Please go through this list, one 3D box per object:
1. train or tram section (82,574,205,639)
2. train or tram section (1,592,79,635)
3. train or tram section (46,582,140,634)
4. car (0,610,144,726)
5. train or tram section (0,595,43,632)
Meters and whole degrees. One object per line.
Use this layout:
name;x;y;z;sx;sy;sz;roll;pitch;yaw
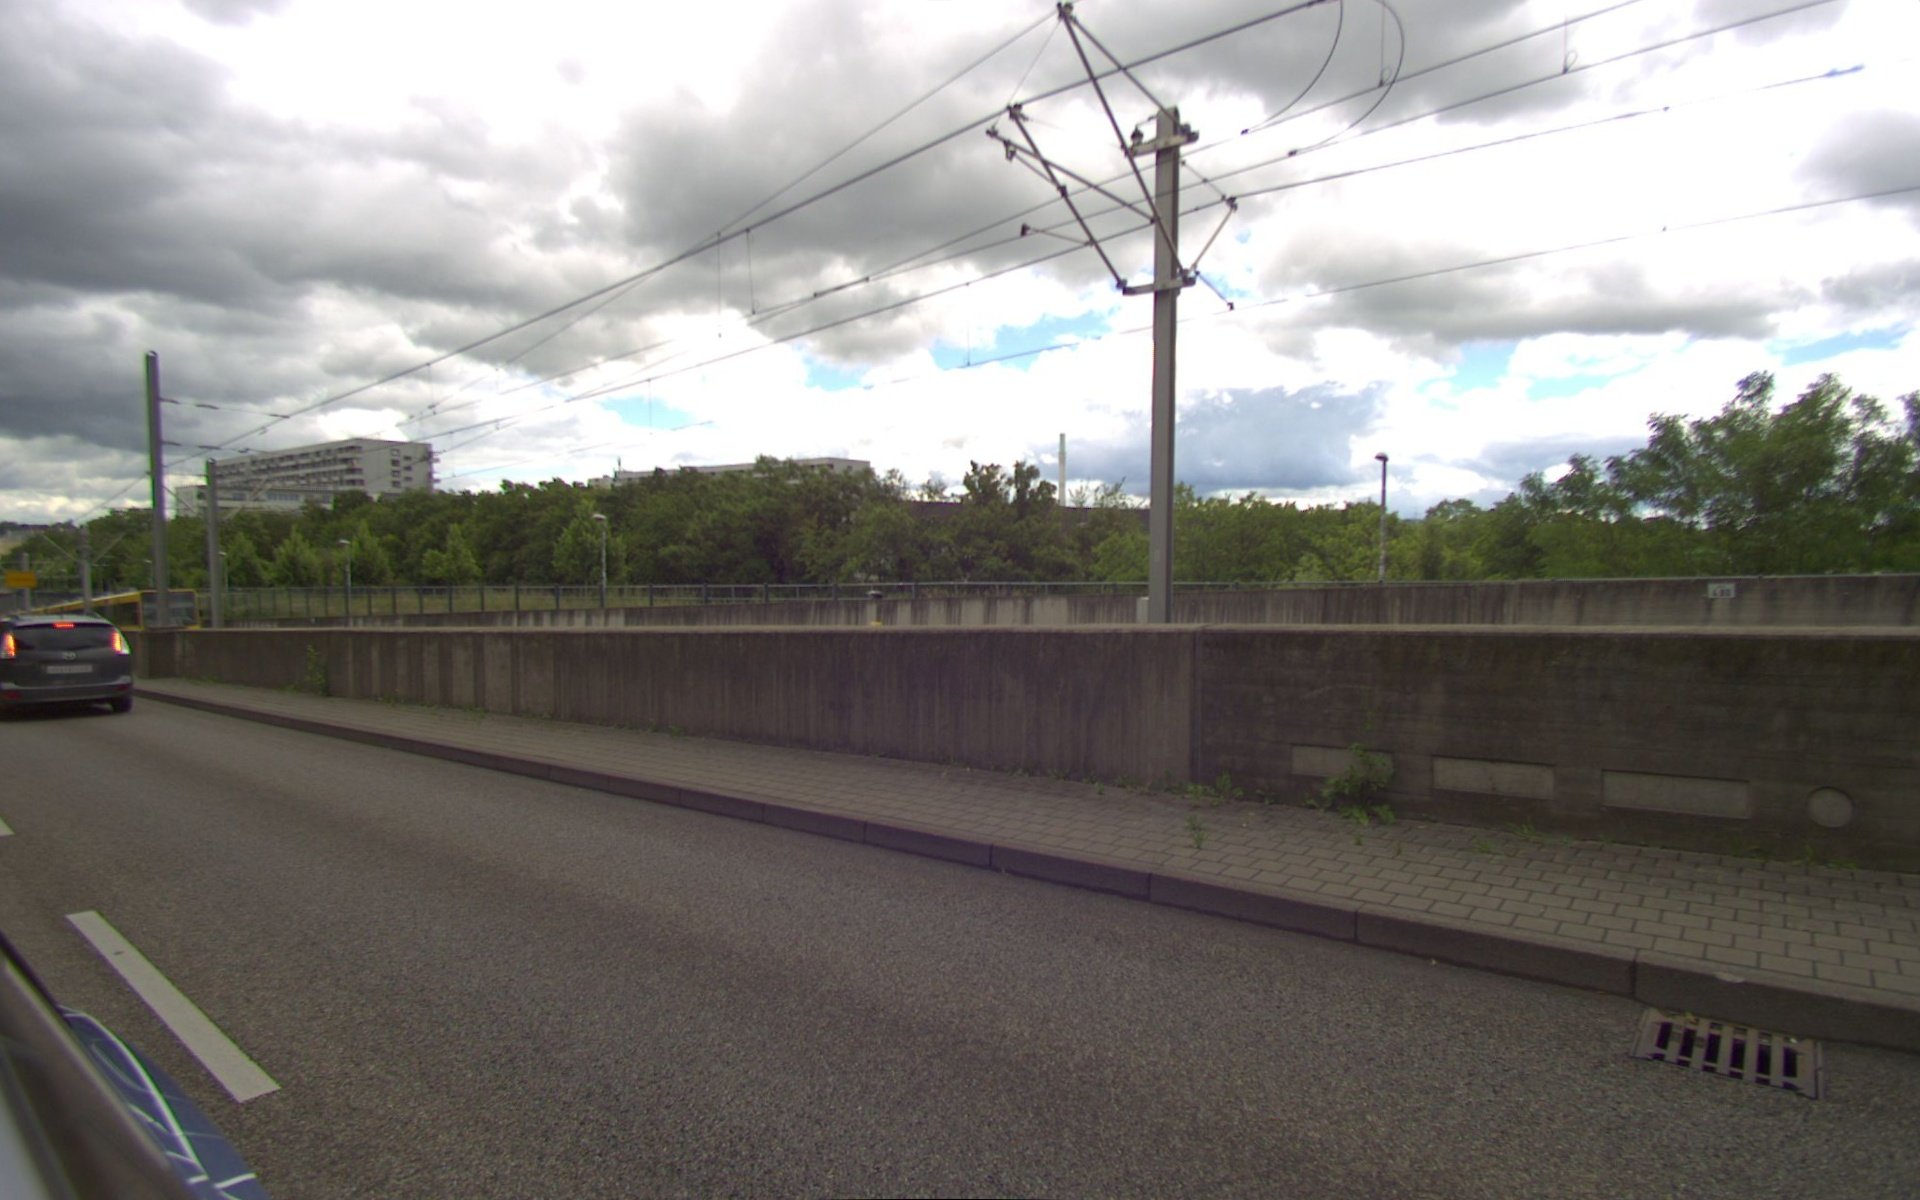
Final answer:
train or tram section;-46.584;0.409;57.320;18.473;3.217;2.751;-1;0;43
train or tram section;-76.472;1.134;83.880;19.910;3.239;2.706;-1;1;42
train or tram section;-60.139;0.591;69.895;18.473;3.217;2.751;-1;0;43
car;-15.207;1.046;16.800;4.242;1.670;1.804;-1;0;40
train or tram section;-90.417;1.340;96.458;17.561;3.215;2.682;-1;1;42
